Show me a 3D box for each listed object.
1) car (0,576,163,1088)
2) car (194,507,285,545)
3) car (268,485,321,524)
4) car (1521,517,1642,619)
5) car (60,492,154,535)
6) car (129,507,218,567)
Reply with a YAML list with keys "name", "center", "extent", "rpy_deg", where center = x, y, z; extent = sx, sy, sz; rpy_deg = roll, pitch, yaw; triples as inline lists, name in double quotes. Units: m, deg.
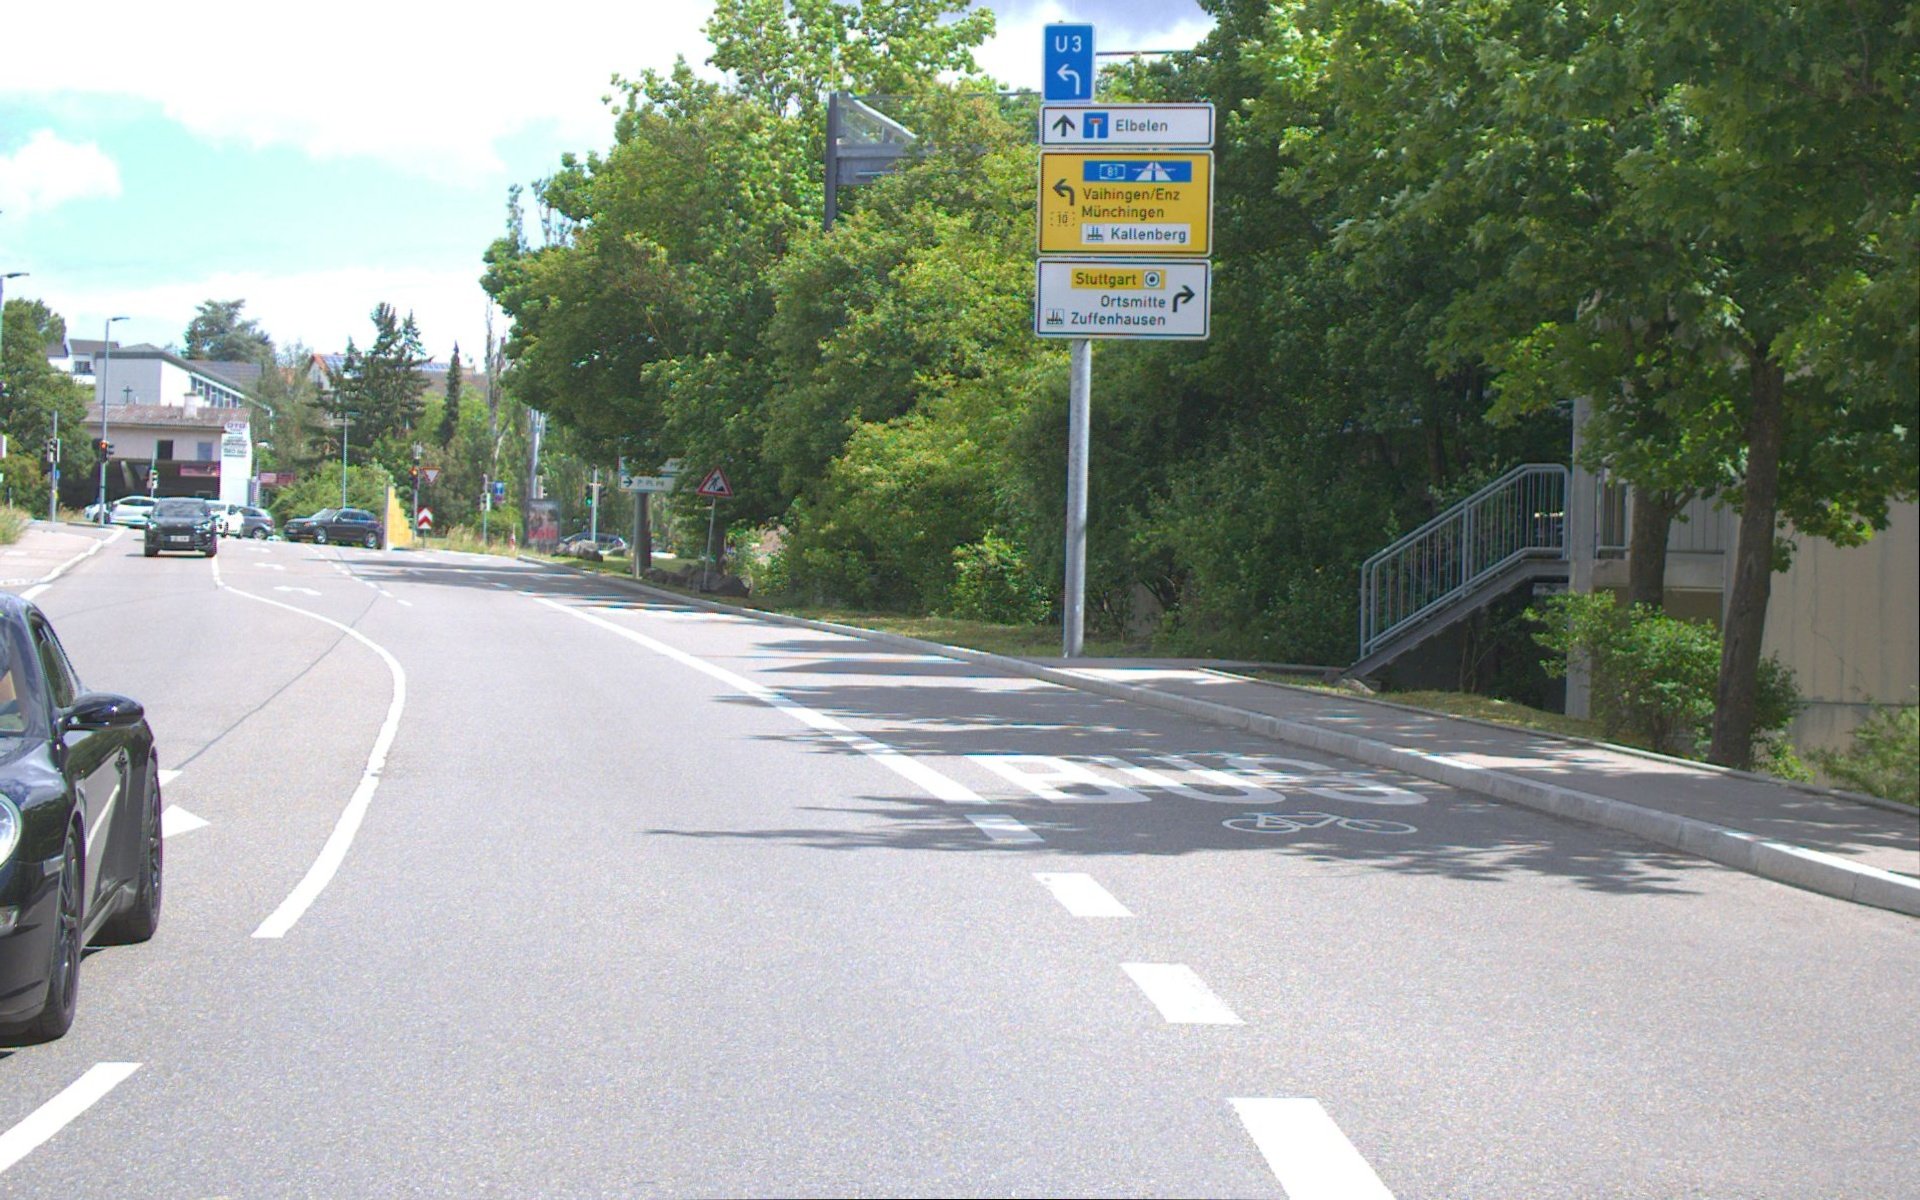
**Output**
- name: "car"
  center: [-3.548, 0.592, 10.898]
  extent: [1.734, 1.296, 4.005]
  rpy_deg: [1, 1, -9]
- name: "car"
  center: [-33.757, -3.478, 161.142]
  extent: [3.986, 1.706, 1.895]
  rpy_deg: [1, 1, -6]
- name: "car"
  center: [-29.121, -4.180, 150.496]
  extent: [1.820, 1.648, 4.534]
  rpy_deg: [1, 1, -6]
- name: "car"
  center: [11.228, -0.576, 62.324]
  extent: [1.877, 1.793, 3.705]
  rpy_deg: [0, 0, 6]
- name: "car"
  center: [-38.880, -3.942, 156.777]
  extent: [3.986, 1.897, 2.001]
  rpy_deg: [1, 1, -9]
- name: "car"
  center: [-21.357, -1.738, 93.268]
  extent: [1.822, 1.552, 4.631]
  rpy_deg: [0, 2, -20]
